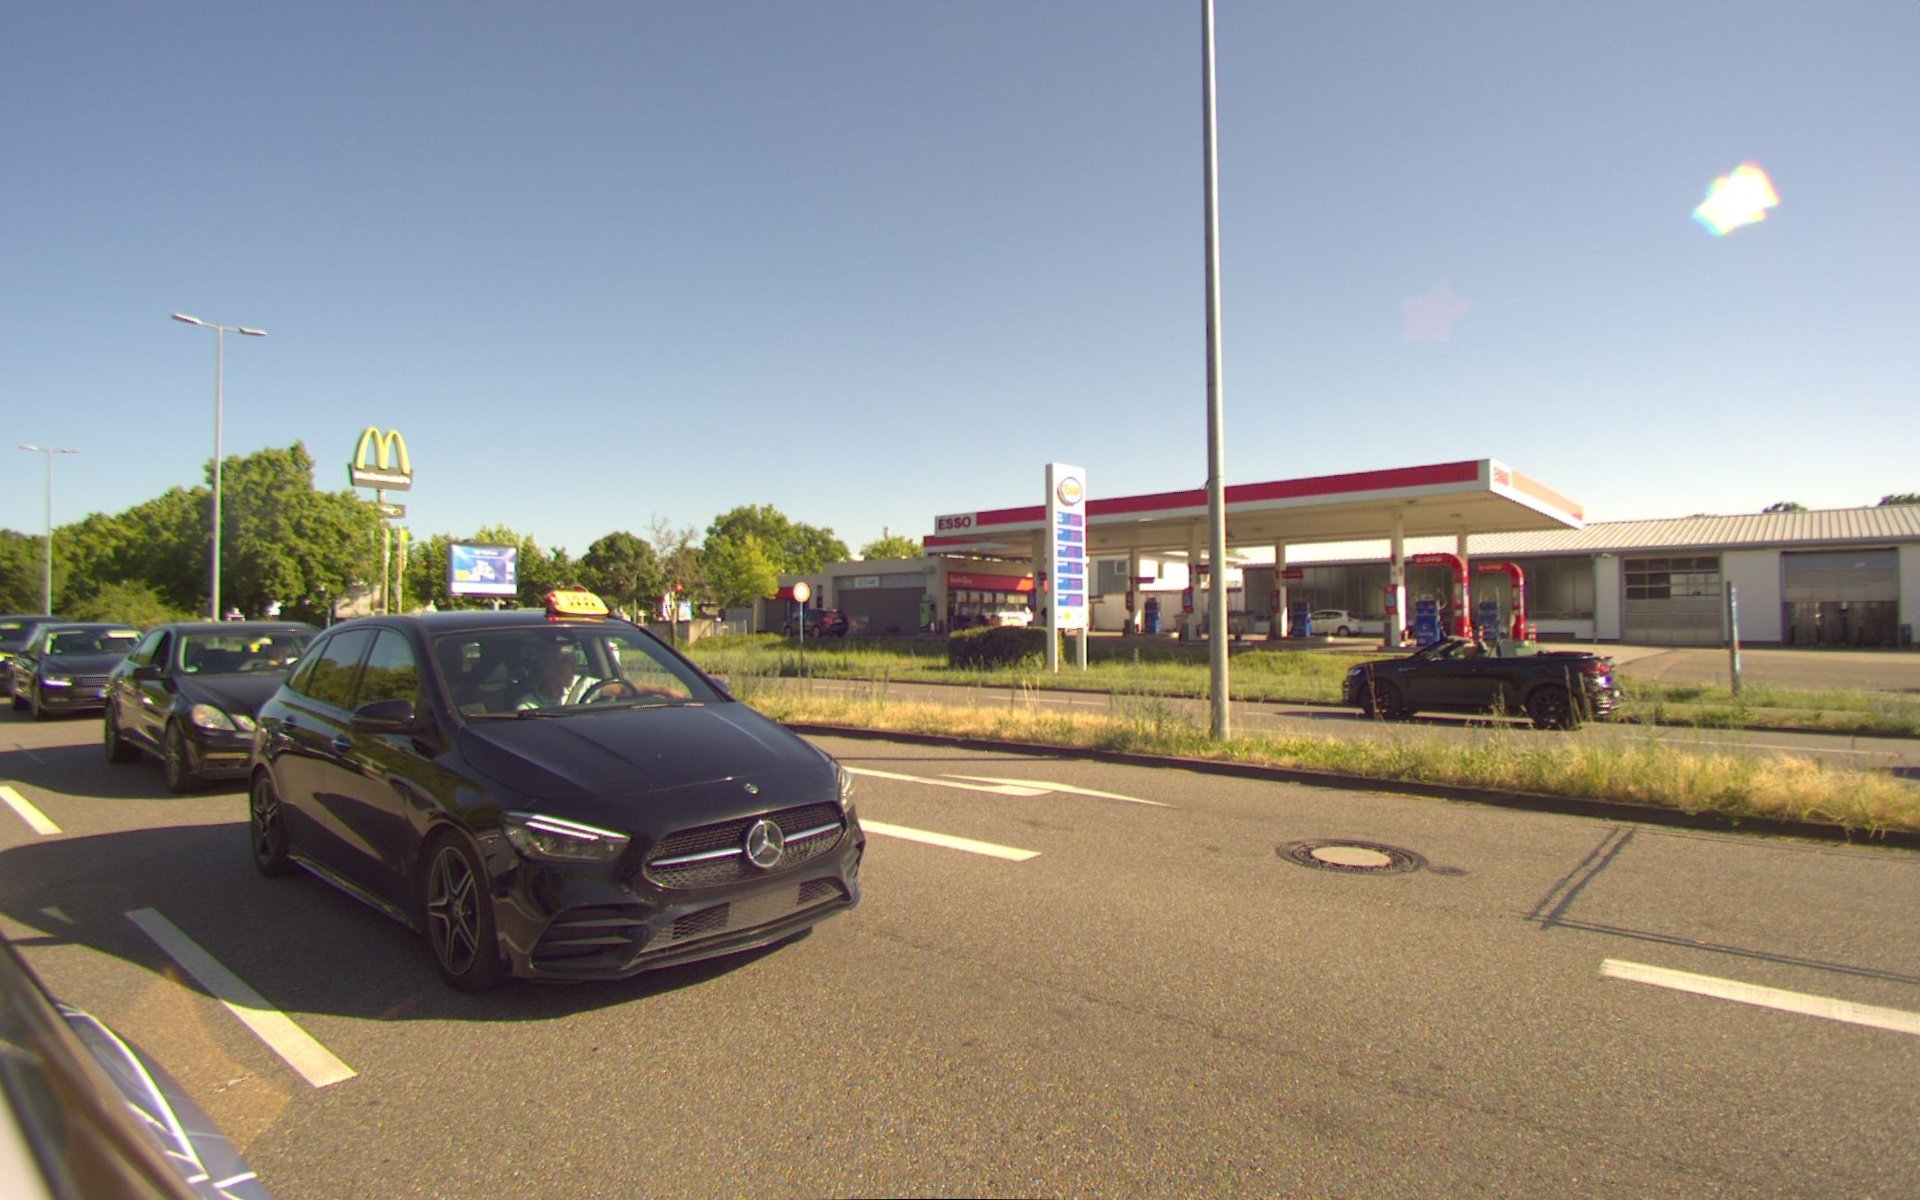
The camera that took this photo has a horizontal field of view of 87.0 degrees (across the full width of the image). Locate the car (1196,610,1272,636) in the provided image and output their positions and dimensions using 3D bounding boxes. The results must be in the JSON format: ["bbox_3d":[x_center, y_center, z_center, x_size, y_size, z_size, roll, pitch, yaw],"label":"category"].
[{"bbox_3d":[15.835,1.350,58.587,3.975,1.420,1.661,-1,-4,40],"label":"car"}]

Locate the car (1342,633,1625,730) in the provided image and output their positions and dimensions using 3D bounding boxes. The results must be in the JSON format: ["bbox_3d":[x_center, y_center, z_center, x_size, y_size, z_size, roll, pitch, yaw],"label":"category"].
[{"bbox_3d":[8.740,1.303,17.064,3.975,1.420,1.741,-1,-4,40],"label":"car"}]

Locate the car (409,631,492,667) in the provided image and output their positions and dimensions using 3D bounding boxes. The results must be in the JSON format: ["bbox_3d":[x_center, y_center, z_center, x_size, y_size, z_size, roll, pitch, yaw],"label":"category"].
[{"bbox_3d":[-21.935,2.104,43.501,3.975,1.420,1.741,-1,-4,40],"label":"car"}]

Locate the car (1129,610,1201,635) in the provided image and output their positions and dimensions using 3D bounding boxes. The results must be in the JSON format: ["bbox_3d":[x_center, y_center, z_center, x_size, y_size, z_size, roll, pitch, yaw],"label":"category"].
[{"bbox_3d":[12.437,1.394,61.386,3.975,1.420,1.661,-1,-4,40],"label":"car"}]

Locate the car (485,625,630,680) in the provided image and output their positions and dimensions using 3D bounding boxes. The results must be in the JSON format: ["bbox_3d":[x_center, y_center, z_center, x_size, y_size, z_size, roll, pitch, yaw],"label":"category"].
[{"bbox_3d":[-12.116,1.546,30.302,4.872,1.502,1.742,-1,-4,38],"label":"car"}]

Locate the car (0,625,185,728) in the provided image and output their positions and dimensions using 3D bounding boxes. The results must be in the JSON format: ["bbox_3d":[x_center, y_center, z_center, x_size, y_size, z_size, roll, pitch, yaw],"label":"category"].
[{"bbox_3d":[-14.450,1.158,16.697,4.284,1.438,1.775,-1,0,40],"label":"car"}]

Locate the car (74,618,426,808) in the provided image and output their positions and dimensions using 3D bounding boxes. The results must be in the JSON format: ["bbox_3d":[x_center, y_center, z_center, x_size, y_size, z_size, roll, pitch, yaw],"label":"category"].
[{"bbox_3d":[-7.259,0.935,10.165,4.400,1.449,1.845,-1,0,40],"label":"car"}]

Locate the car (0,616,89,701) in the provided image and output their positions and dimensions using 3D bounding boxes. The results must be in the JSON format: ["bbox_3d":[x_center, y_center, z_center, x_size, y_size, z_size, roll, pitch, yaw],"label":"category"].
[{"bbox_3d":[-19.937,1.198,21.446,3.876,1.629,1.653,-2,-1,40],"label":"car"}]

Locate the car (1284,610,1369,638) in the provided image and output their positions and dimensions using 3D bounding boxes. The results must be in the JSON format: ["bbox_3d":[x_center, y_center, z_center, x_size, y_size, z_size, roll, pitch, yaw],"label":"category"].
[{"bbox_3d":[19.837,1.299,54.845,3.975,1.420,1.661,-1,-4,40],"label":"car"}]

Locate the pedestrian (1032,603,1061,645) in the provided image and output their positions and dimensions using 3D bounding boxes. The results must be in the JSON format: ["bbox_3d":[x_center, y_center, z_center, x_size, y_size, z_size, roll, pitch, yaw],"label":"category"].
[{"bbox_3d":[3.700,1.036,43.297,0.904,1.763,0.780,-1,0,44],"label":"pedestrian"}]

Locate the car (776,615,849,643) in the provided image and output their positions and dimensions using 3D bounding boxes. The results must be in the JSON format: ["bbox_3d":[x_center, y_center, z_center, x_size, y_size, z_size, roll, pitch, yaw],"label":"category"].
[{"bbox_3d":[-7.985,1.580,54.772,3.975,1.420,1.661,-1,-4,40],"label":"car"}]

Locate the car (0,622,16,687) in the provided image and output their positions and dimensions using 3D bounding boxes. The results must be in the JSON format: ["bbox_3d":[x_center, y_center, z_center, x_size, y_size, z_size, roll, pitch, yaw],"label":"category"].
[{"bbox_3d":[-25.222,1.373,25.544,3.774,1.567,1.615,-1,-1,40],"label":"car"}]

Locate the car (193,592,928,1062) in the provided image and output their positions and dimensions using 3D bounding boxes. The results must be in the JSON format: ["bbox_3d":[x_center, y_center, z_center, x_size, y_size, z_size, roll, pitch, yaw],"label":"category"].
[{"bbox_3d":[-2.381,0.742,5.339,4.400,1.502,1.741,-1,0,40],"label":"car"}]
